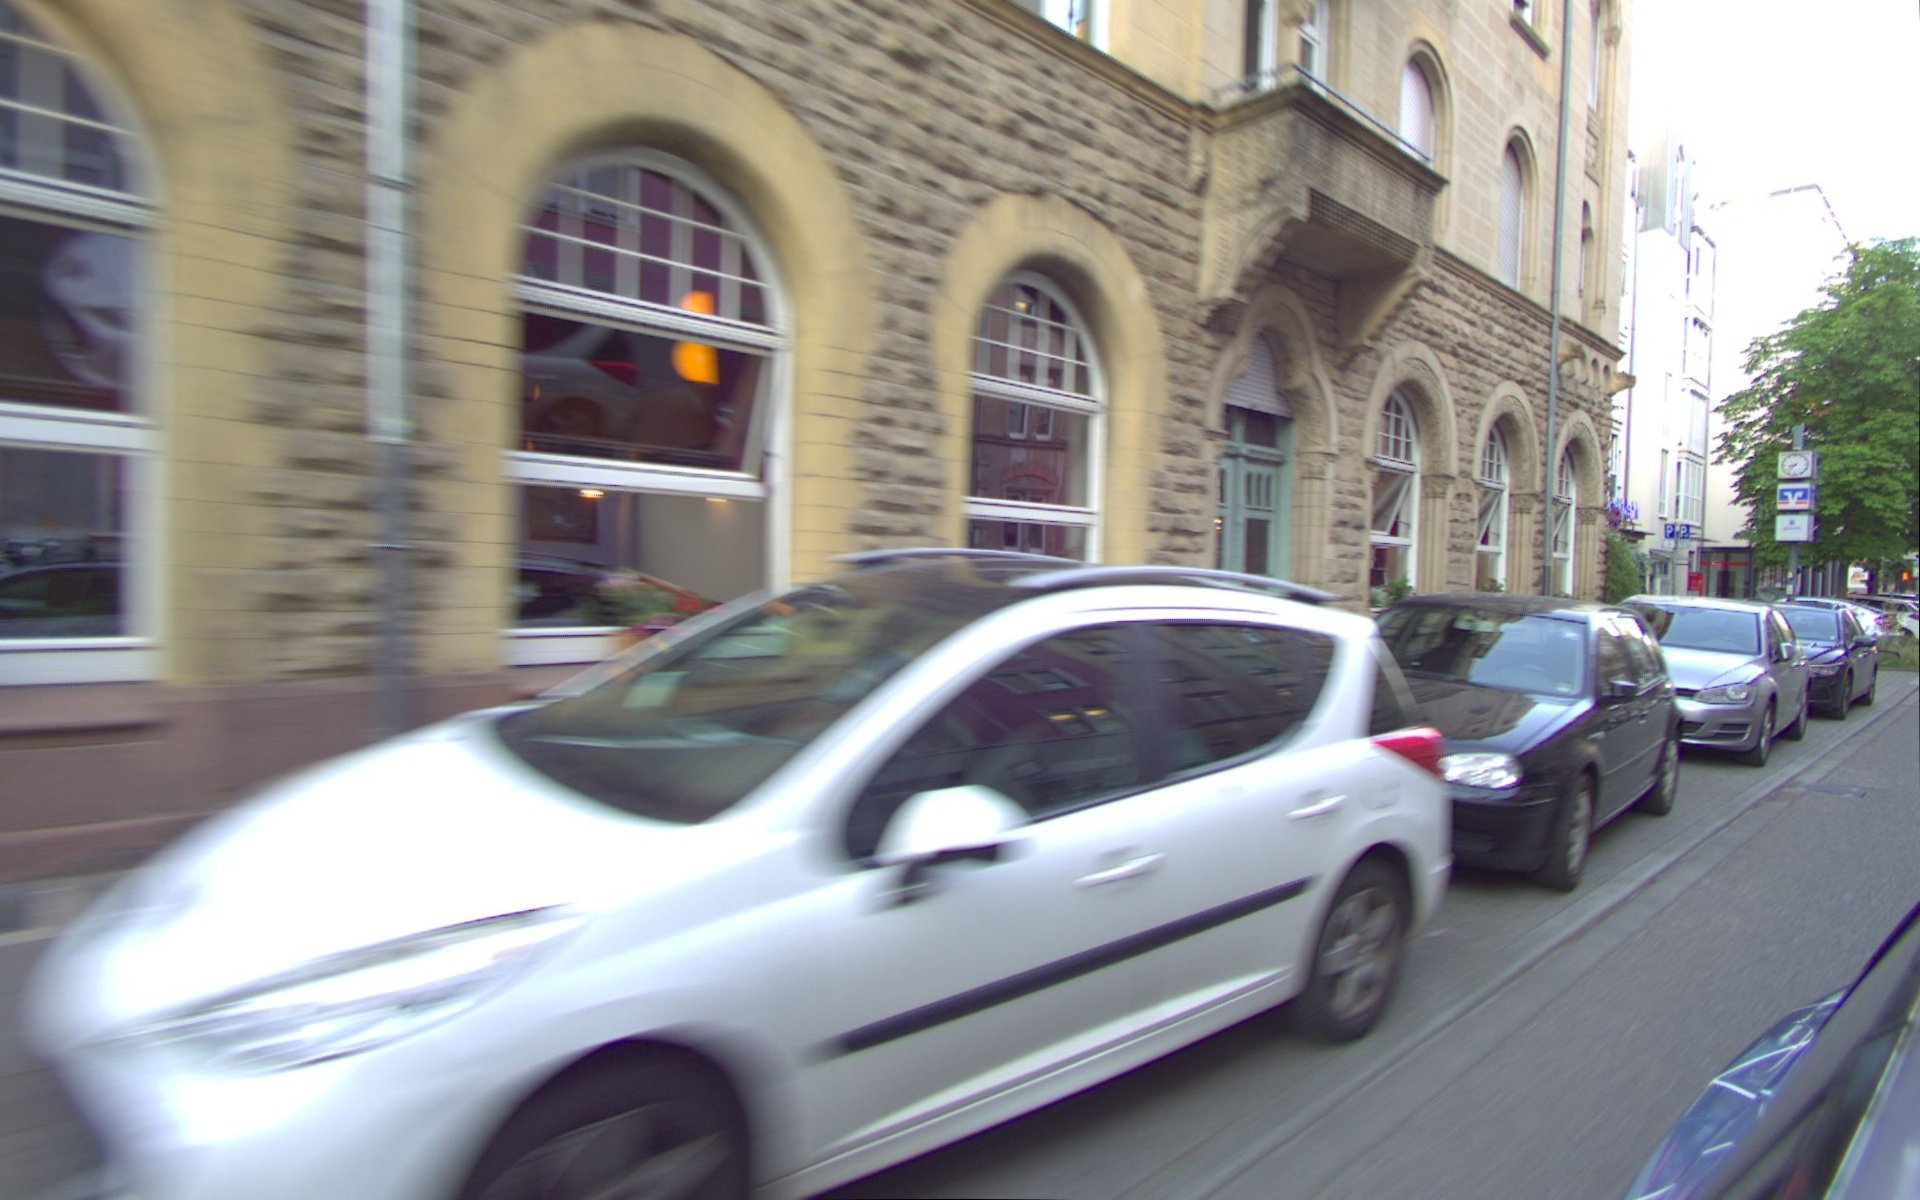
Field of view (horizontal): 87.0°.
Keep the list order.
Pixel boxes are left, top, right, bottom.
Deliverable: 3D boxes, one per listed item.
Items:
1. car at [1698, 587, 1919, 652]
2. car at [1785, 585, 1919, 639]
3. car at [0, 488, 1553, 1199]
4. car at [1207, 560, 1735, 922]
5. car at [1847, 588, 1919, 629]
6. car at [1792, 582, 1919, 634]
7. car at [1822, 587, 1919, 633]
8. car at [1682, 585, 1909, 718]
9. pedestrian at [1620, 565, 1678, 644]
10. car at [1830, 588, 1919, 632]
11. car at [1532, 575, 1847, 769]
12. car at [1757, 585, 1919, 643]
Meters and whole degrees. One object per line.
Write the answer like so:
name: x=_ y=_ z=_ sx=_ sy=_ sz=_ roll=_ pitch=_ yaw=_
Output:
car: x=22.333 y=0.450 z=26.722 sx=1.792 sy=1.469 sz=4.297 roll=0 pitch=2 yaw=-42
car: x=28.985 y=0.365 z=31.952 sx=1.792 sy=1.547 sz=4.297 roll=0 pitch=2 yaw=-42
car: x=-0.023 y=0.557 z=3.254 sx=4.381 sy=1.502 sz=1.769 roll=0 pitch=4 yaw=-38
car: x=3.622 y=0.587 z=6.686 sx=1.765 sy=1.502 sz=4.484 roll=7 pitch=5 yaw=44
car: x=38.434 y=0.375 z=40.466 sx=1.792 sy=1.547 sz=4.297 roll=0 pitch=2 yaw=-42
car: x=32.471 y=0.273 z=35.931 sx=1.792 sy=1.697 sz=4.297 roll=0 pitch=2 yaw=-42
car: x=34.850 y=0.377 z=37.422 sx=1.792 sy=1.555 sz=4.297 roll=0 pitch=2 yaw=-42
car: x=11.882 y=0.602 z=14.284 sx=4.478 sy=1.502 sz=1.767 roll=0 pitch=4 yaw=-42
pedestrian: x=16.263 y=0.086 z=23.906 sx=0.818 sy=1.788 sz=0.852 roll=0 pitch=3 yaw=-38
car: x=36.495 y=0.394 z=38.986 sx=1.792 sy=1.547 sz=4.297 roll=0 pitch=2 yaw=-42
car: x=7.683 y=0.570 z=10.476 sx=4.480 sy=1.502 sz=1.766 roll=0 pitch=4 yaw=-43
car: x=27.011 y=0.380 z=30.629 sx=1.792 sy=1.547 sz=4.297 roll=0 pitch=2 yaw=-42
